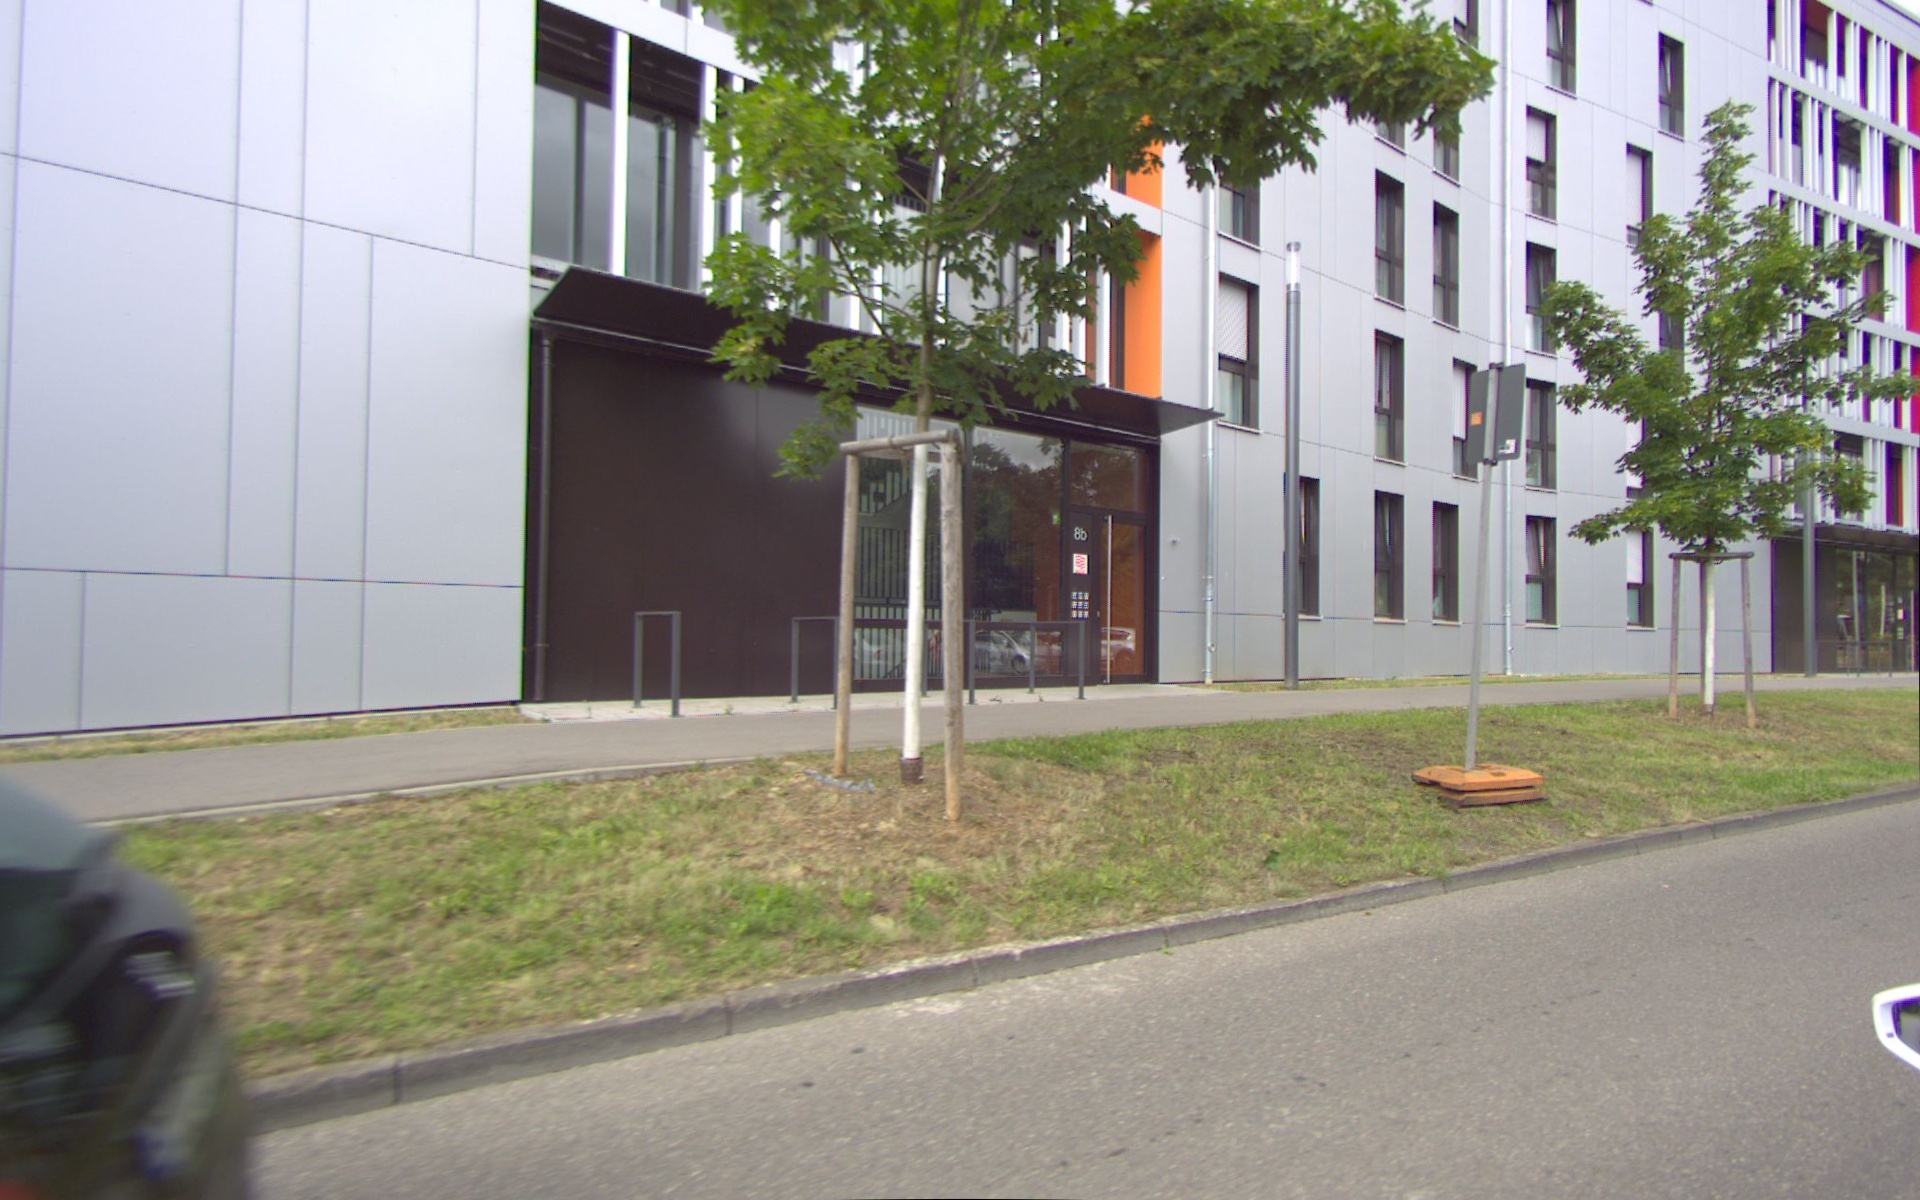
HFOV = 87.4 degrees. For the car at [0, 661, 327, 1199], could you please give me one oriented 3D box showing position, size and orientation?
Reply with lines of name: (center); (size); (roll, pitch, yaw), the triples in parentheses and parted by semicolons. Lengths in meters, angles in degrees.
car: (-2.709, 0.803, 0.518); (3.954, 1.406, 1.601); (1, -1, -31)
